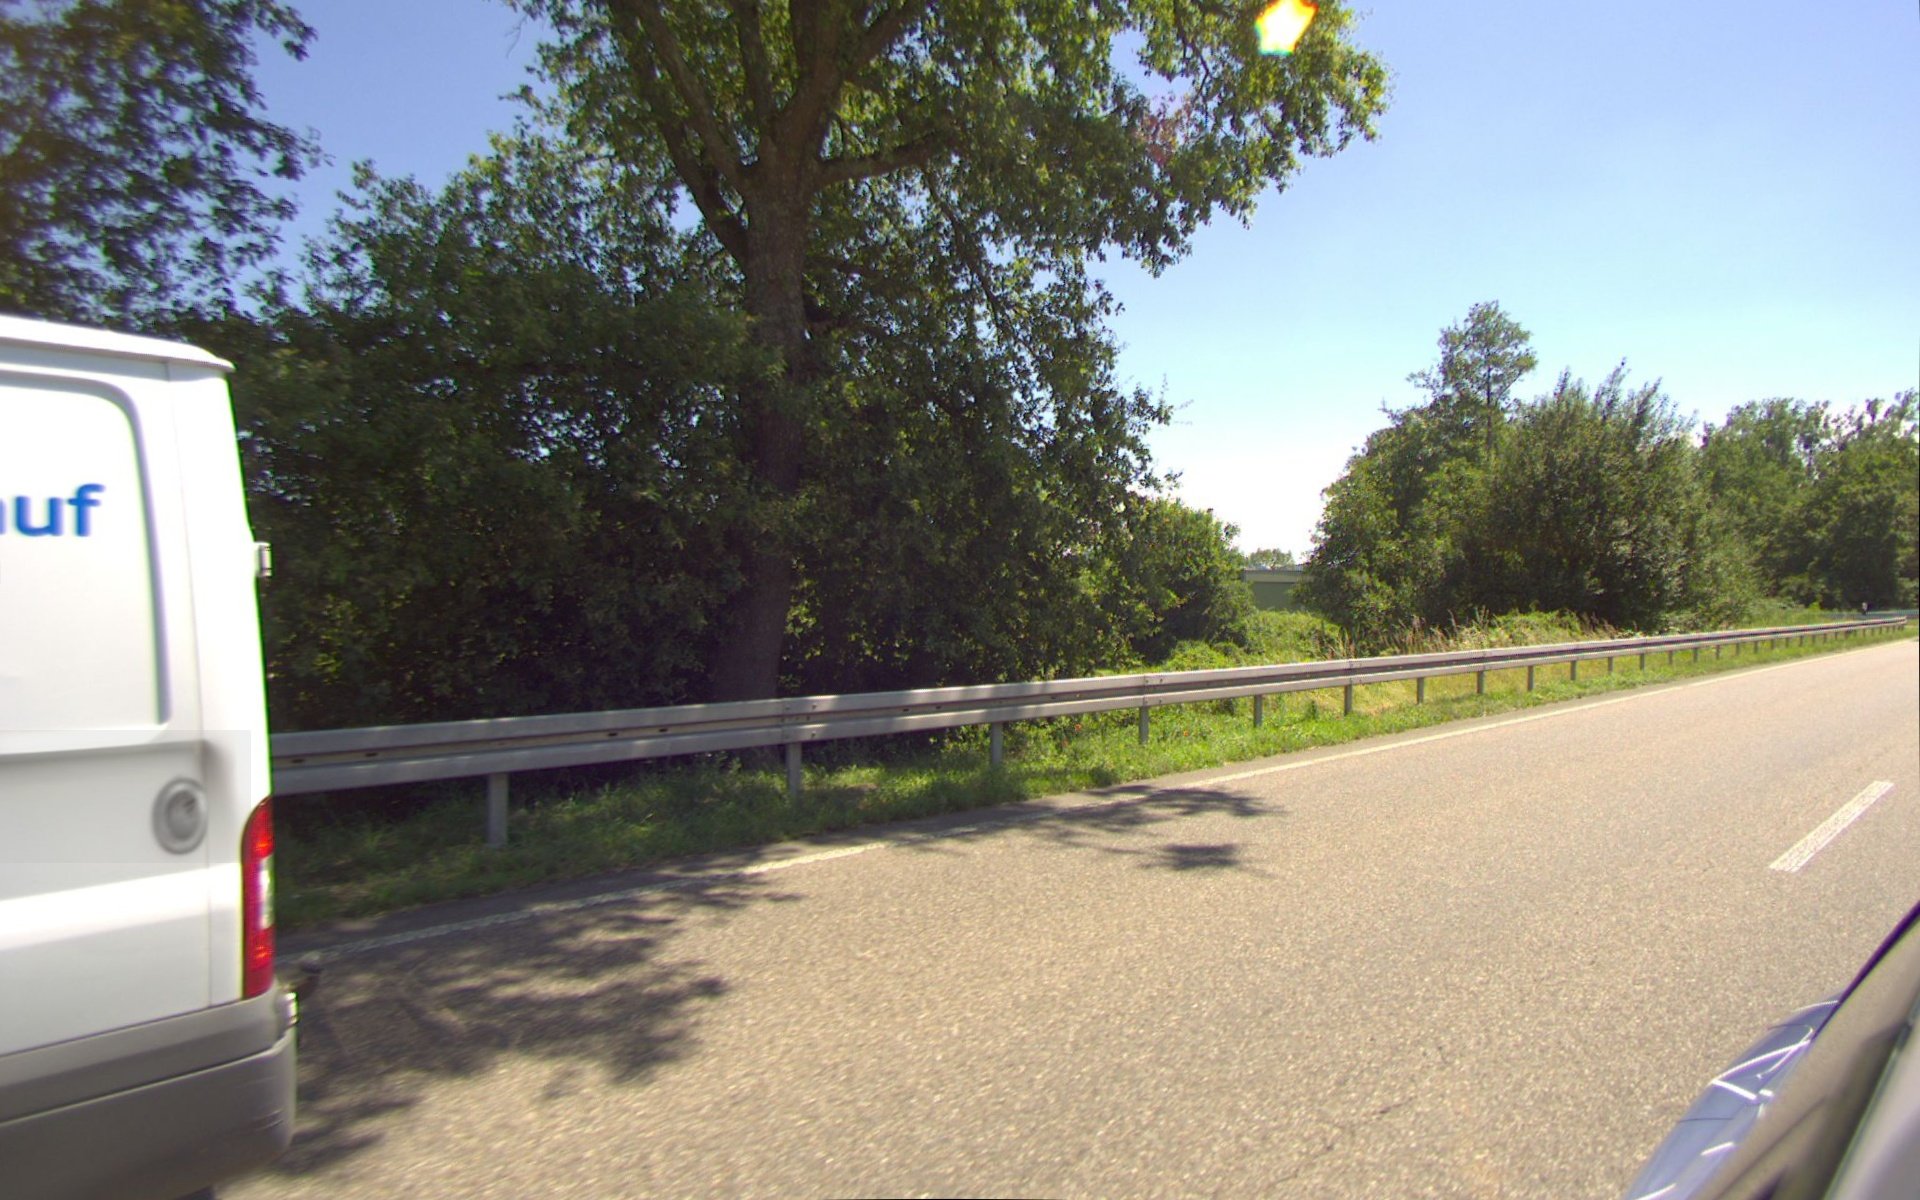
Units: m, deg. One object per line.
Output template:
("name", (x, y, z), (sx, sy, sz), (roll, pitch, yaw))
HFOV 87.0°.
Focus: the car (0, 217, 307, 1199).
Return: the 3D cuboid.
("car", (-3.766, 0.388, 1.076), (4.947, 2.014, 2.009), (0, 0, -41))
